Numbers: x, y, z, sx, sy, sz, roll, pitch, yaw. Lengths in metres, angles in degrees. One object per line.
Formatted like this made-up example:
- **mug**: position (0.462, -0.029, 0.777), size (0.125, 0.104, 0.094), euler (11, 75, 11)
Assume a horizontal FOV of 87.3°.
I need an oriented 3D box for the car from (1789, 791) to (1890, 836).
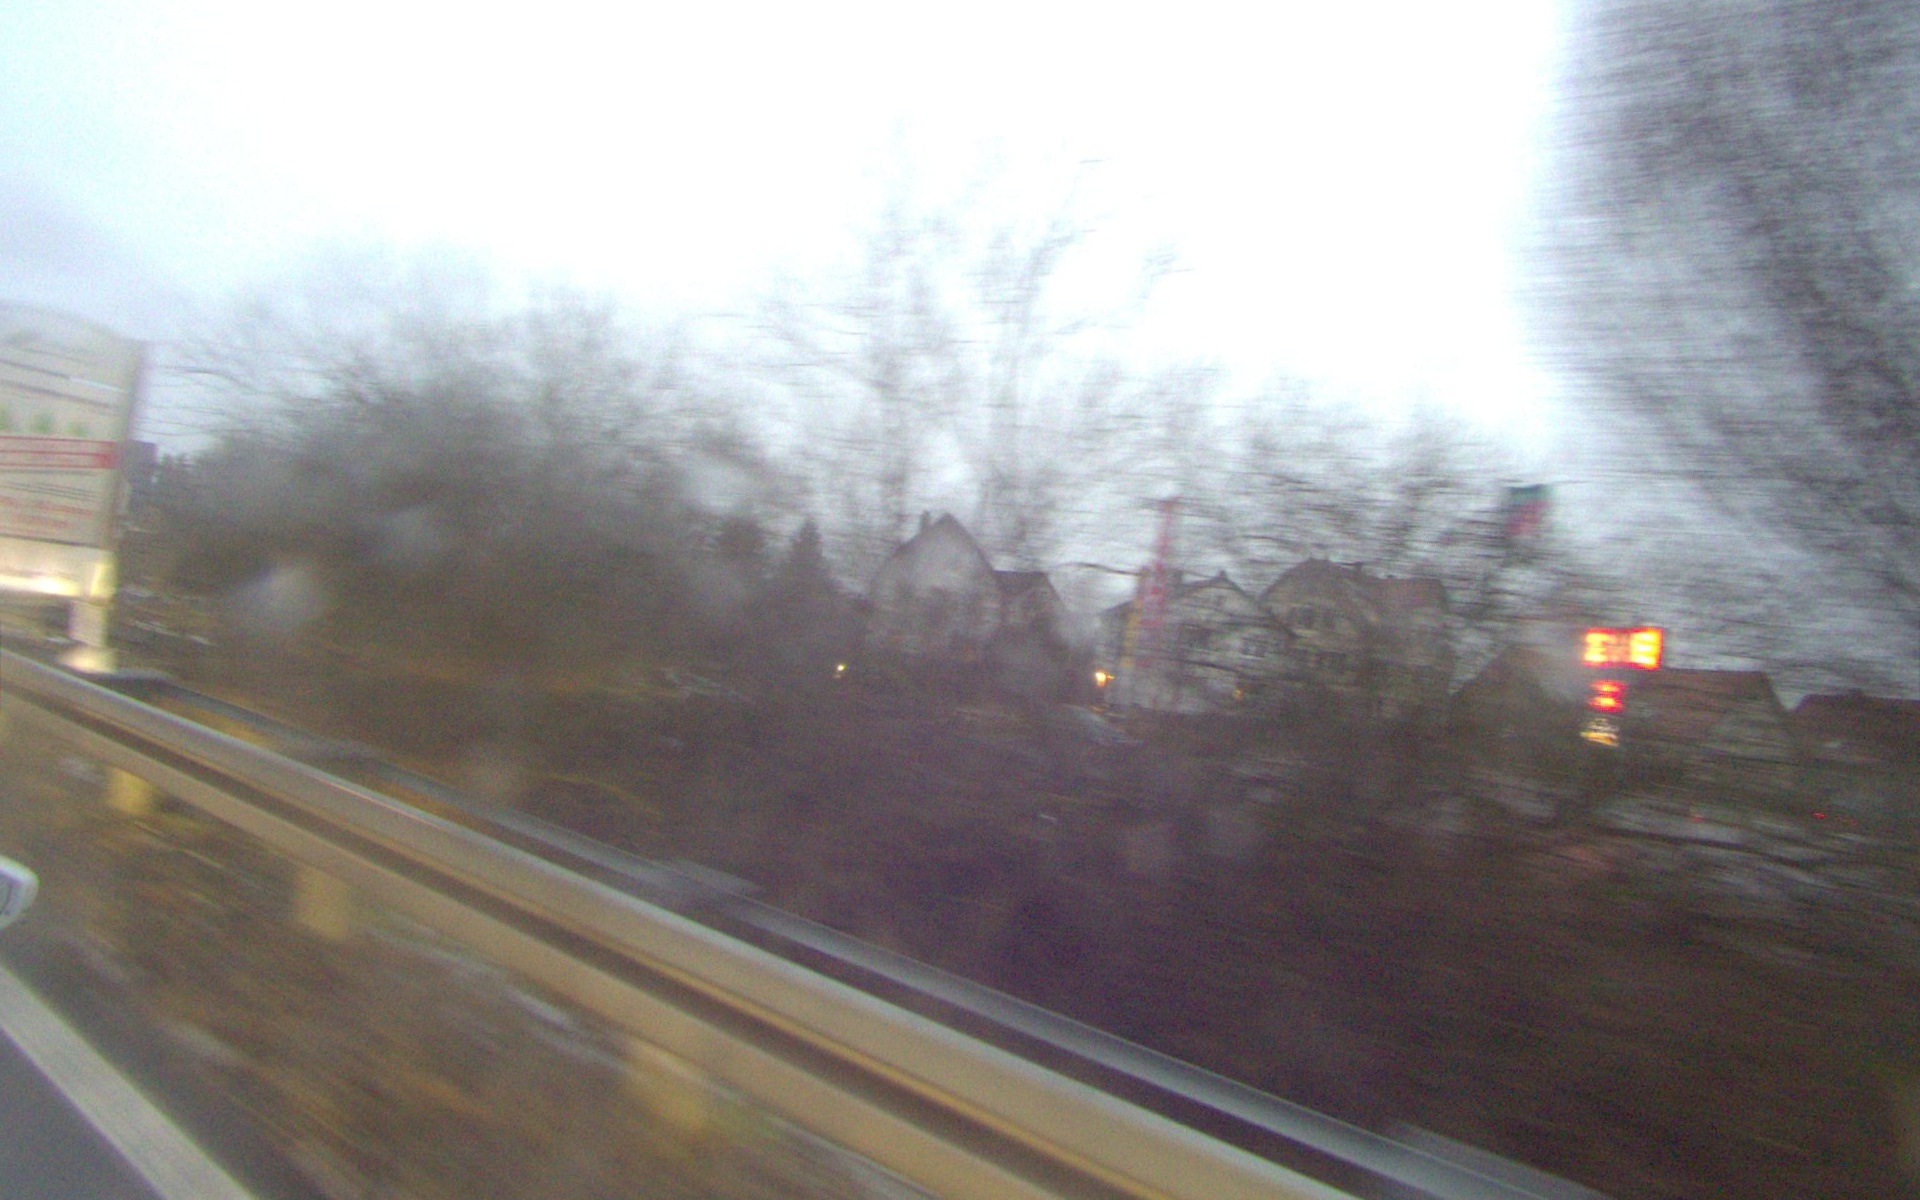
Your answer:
- **car**: position (47.466, 11.523, 54.351), size (3.933, 1.680, 1.941), euler (8, -2, -9)
